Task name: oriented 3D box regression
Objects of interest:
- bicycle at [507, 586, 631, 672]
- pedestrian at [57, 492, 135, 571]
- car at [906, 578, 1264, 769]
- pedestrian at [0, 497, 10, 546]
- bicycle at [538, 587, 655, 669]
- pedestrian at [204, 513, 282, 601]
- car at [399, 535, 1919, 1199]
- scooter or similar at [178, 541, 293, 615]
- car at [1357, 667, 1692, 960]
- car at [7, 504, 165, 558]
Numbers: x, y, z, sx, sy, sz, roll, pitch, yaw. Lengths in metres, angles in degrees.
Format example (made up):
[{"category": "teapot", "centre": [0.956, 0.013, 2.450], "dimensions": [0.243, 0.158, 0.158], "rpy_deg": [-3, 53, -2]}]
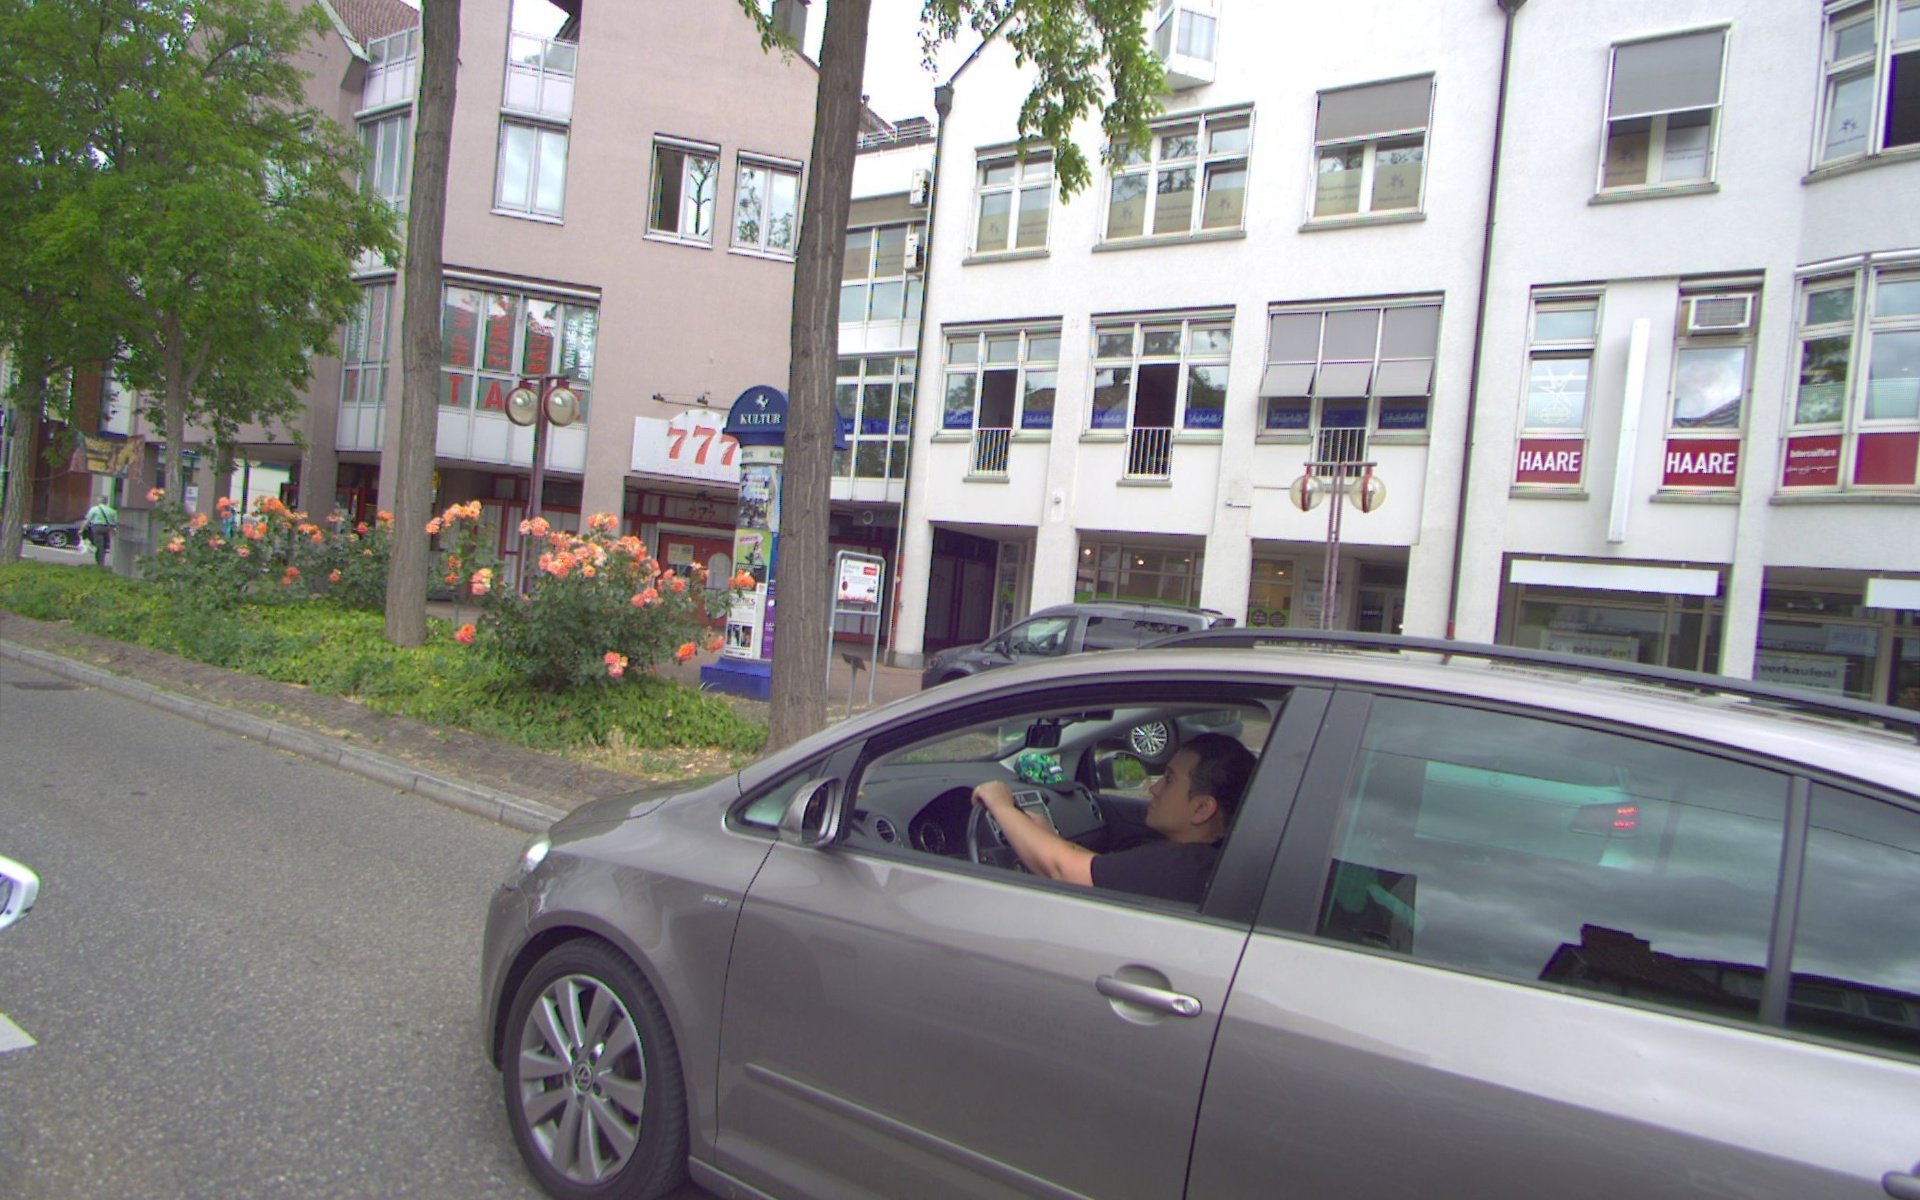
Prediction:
[{"category": "bicycle", "centre": [-5.582, 0.423, 14.430], "dimensions": [1.545, 1.062, 0.405], "rpy_deg": [6, 1, -18]}, {"category": "pedestrian", "centre": [-21.177, -1.671, 24.664], "dimensions": [1.091, 1.737, 1.057], "rpy_deg": [6, 1, 30]}, {"category": "car", "centre": [1.597, 0.859, 13.223], "dimensions": [4.188, 1.827, 1.736], "rpy_deg": [6, 1, 29]}, {"category": "pedestrian", "centre": [-32.254, -2.663, 33.284], "dimensions": [1.021, 1.615, 0.823], "rpy_deg": [6, 1, 28]}, {"category": "bicycle", "centre": [-5.431, 0.416, 15.102], "dimensions": [1.545, 1.062, 0.405], "rpy_deg": [6, 1, -18]}, {"category": "pedestrian", "centre": [-14.567, -0.868, 20.435], "dimensions": [1.074, 1.647, 0.809], "rpy_deg": [7, 1, 29]}, {"category": "car", "centre": [0.699, 0.867, 2.501], "dimensions": [3.933, 1.548, 1.801], "rpy_deg": [7, -2, 31]}, {"category": "scooter or similar", "centre": [-12.583, -0.384, 17.474], "dimensions": [1.852, 1.101, 0.471], "rpy_deg": [6, 1, 14]}, {"category": "car", "centre": [4.657, 1.428, 8.381], "dimensions": [1.710, 1.472, 4.642], "rpy_deg": [6, 1, 30]}, {"category": "car", "centre": [-33.628, -2.616, 38.836], "dimensions": [1.769, 1.421, 4.181], "rpy_deg": [7, -1, 28]}]
